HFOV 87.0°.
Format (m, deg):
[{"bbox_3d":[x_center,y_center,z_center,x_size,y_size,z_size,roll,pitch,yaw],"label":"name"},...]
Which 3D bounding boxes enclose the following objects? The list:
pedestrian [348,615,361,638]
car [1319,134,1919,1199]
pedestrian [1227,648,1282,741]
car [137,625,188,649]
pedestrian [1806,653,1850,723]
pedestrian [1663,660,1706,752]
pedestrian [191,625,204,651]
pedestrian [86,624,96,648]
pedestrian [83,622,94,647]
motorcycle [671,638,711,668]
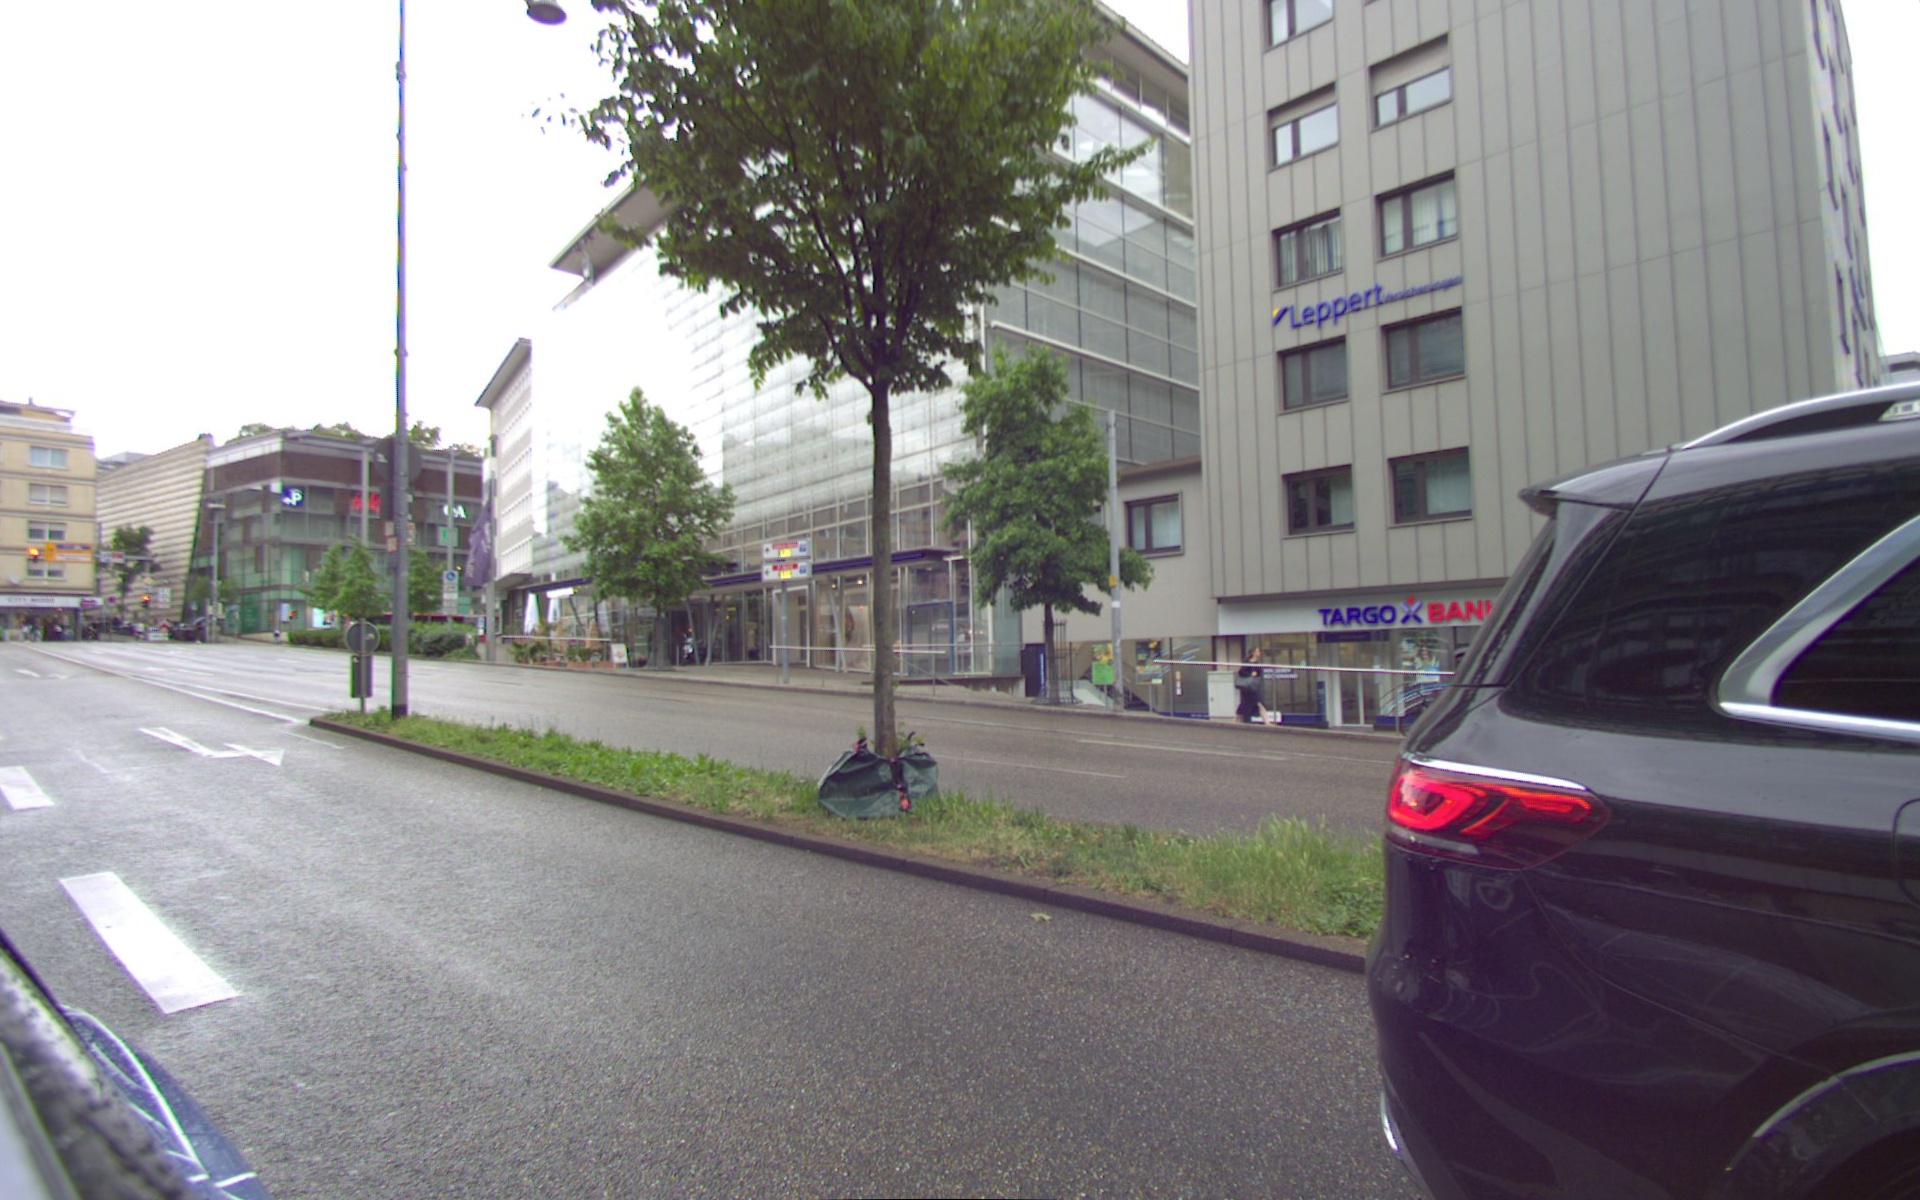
[{"bbox_3d":[-44.916,1.960,75.030,0.602,1.642,0.625,-1,-3,42],"label":"pedestrian"},{"bbox_3d":[3.132,0.379,0.775,5.069,1.884,1.892,0,0,40],"label":"car"},{"bbox_3d":[5.539,1.760,19.061,0.626,1.649,0.791,0,0,-41],"label":"pedestrian"},{"bbox_3d":[-70.257,3.233,89.281,1.966,2.029,4.601,2,-2,-17],"label":"car"},{"bbox_3d":[21.905,2.193,25.543,0.724,1.710,0.781,0,-3,34],"label":"pedestrian"},{"bbox_3d":[13.831,2.003,19.342,0.634,1.649,0.781,0,0,34],"label":"pedestrian"},{"bbox_3d":[-53.954,2.656,71.591,0.618,1.788,0.689,0,0,-45],"label":"pedestrian"},{"bbox_3d":[-58.487,2.418,68.129,0.602,1.642,0.422,-1,-3,44],"label":"pedestrian"},{"bbox_3d":[-57.052,2.272,66.251,0.603,1.642,0.422,-1,-3,45],"label":"pedestrian"},{"bbox_3d":[-12.220,2.411,45.985,0.620,1.336,1.685,-1,-3,41],"label":"motorcycle"}]
